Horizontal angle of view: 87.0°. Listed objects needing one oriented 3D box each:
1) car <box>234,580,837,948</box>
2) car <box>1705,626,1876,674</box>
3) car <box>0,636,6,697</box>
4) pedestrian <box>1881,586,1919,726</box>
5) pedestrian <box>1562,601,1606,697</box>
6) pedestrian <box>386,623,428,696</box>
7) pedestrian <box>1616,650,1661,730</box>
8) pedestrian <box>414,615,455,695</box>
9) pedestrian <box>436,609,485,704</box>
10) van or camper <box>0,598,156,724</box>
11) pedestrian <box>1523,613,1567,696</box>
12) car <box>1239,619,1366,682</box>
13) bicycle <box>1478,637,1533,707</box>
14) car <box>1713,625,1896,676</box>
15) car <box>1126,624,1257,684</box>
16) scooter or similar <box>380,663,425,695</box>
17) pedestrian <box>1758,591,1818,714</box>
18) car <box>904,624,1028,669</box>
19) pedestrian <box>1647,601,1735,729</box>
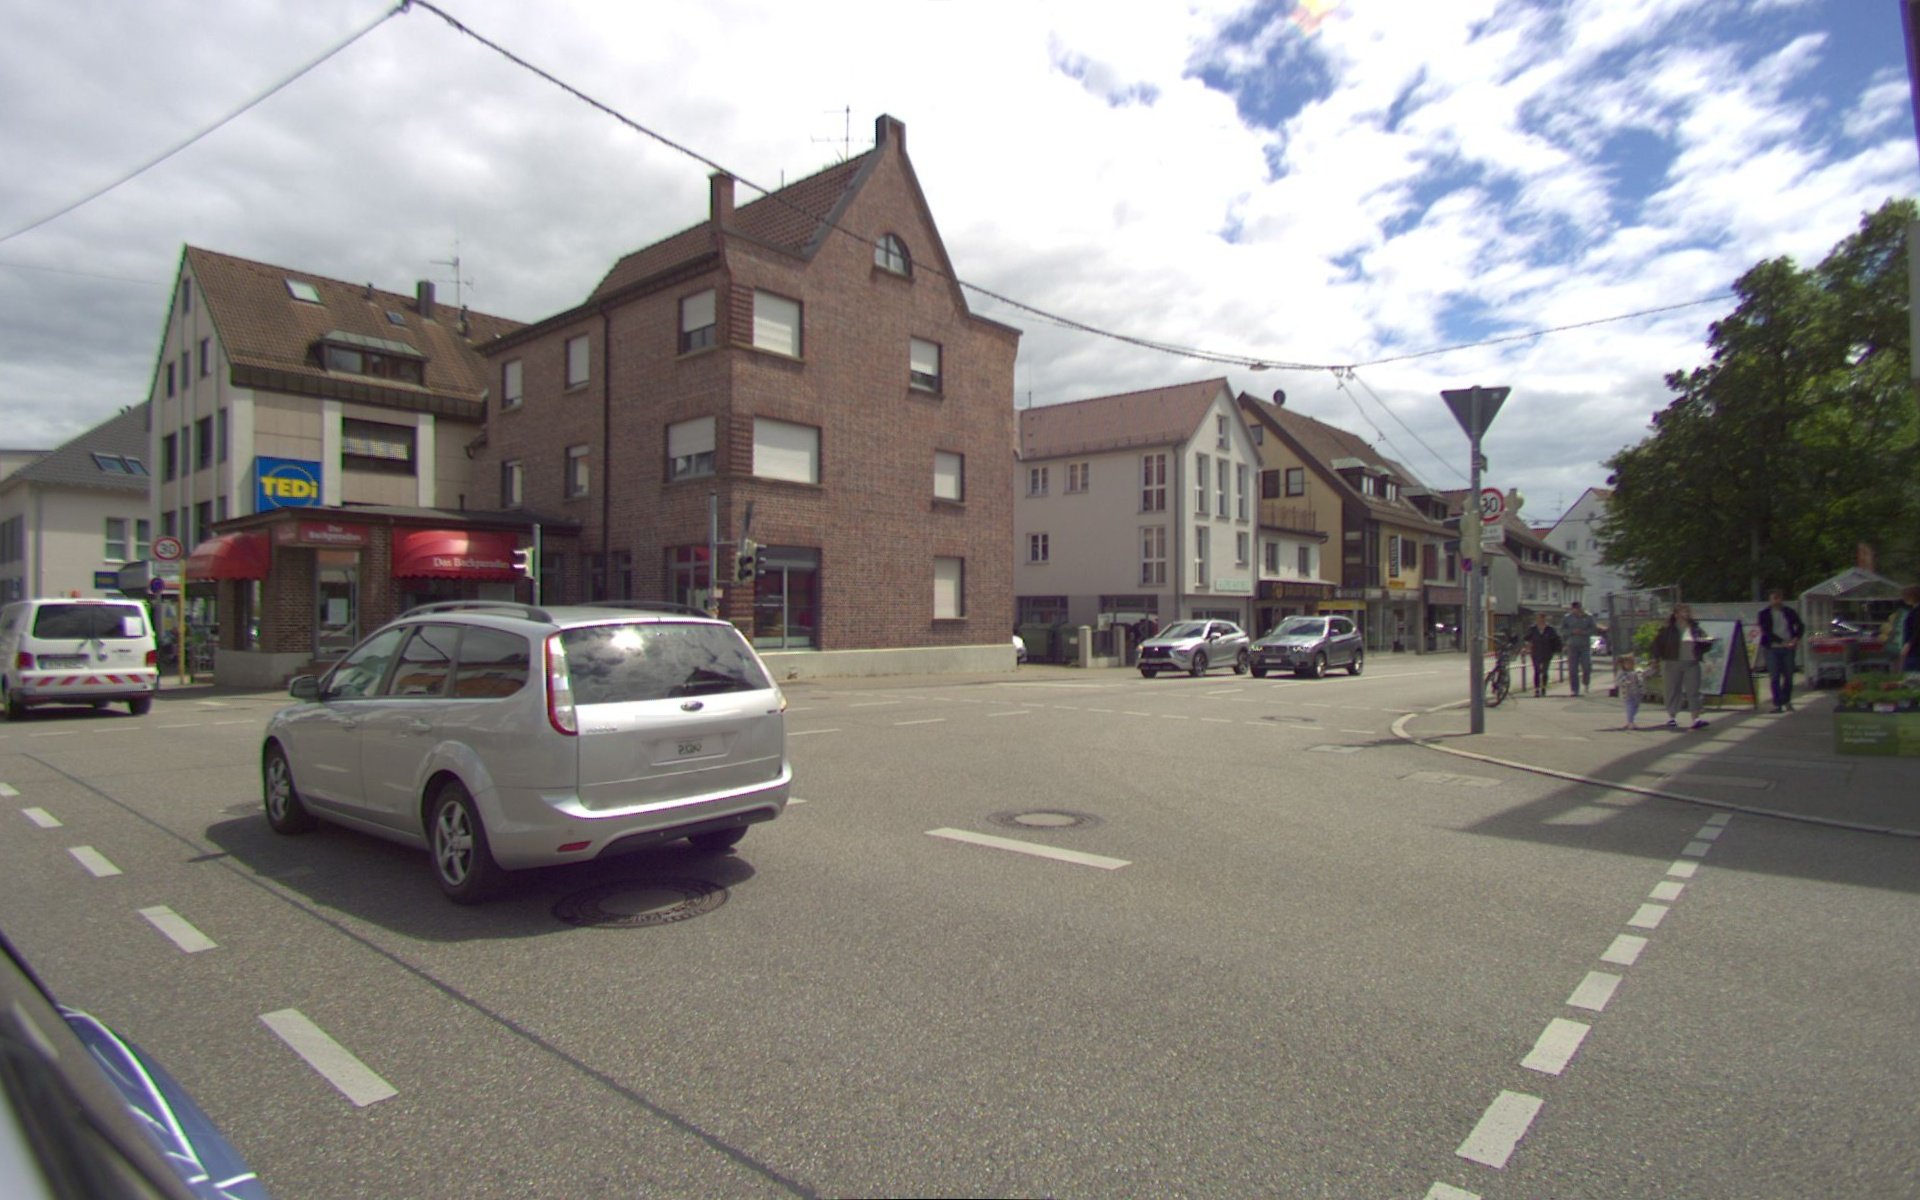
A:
[{"bbox_3d":[-2.837,0.768,6.290,4.209,1.565,1.652,-2,-2,39],"label":"car"},{"bbox_3d":[25.043,1.486,30.611,1.756,1.332,3.731,1,-3,-40],"label":"car"},{"bbox_3d":[-25.566,1.657,25.586,3.964,1.508,1.665,-2,-2,41],"label":"car"},{"bbox_3d":[12.304,0.704,12.867,0.772,1.752,0.387,0,0,12],"label":"pedestrian"},{"bbox_3d":[12.383,0.966,20.080,0.675,1.850,0.727,-2,-3,33],"label":"pedestrian"},{"bbox_3d":[-11.724,1.254,21.461,0.760,1.496,0.519,0,0,38],"label":"pedestrian"},{"bbox_3d":[8.876,1.171,13.249,0.382,1.012,0.361,0,0,15],"label":"pedestrian"},{"bbox_3d":[-11.343,1.163,21.845,0.760,1.671,0.519,0,0,38],"label":"pedestrian"},{"bbox_3d":[-9.772,1.083,19.797,0.719,1.810,0.619,0,0,38],"label":"pedestrian"},{"bbox_3d":[-15.697,1.019,17.544,4.688,1.912,1.846,-3,-2,40],"label":"van or camper"},{"bbox_3d":[11.543,1.065,19.960,0.675,1.589,0.727,-2,-3,33],"label":"pedestrian"},{"bbox_3d":[9.342,1.343,27.423,1.920,1.586,3.946,-2,-3,40],"label":"car"},{"bbox_3d":[9.527,1.236,17.642,0.773,1.150,1.868,-1,-3,30],"label":"bicycle"},{"bbox_3d":[24.003,1.422,28.854,1.756,1.331,3.731,2,-3,-40],"label":"car"},{"bbox_3d":[6.759,1.524,29.287,1.920,1.586,4.270,-2,-3,40],"label":"car"},{"bbox_3d":[-12.039,1.704,21.845,0.803,0.651,0.377,0,-3,18],"label":"scooter or similar"},{"bbox_3d":[12.373,0.759,15.140,0.552,1.789,0.617,0,0,25],"label":"pedestrian"},{"bbox_3d":[0.155,1.533,33.897,3.998,1.427,1.726,-2,-3,41],"label":"car"},{"bbox_3d":[9.465,0.817,13.135,0.690,1.609,0.722,0,0,14],"label":"pedestrian"}]
